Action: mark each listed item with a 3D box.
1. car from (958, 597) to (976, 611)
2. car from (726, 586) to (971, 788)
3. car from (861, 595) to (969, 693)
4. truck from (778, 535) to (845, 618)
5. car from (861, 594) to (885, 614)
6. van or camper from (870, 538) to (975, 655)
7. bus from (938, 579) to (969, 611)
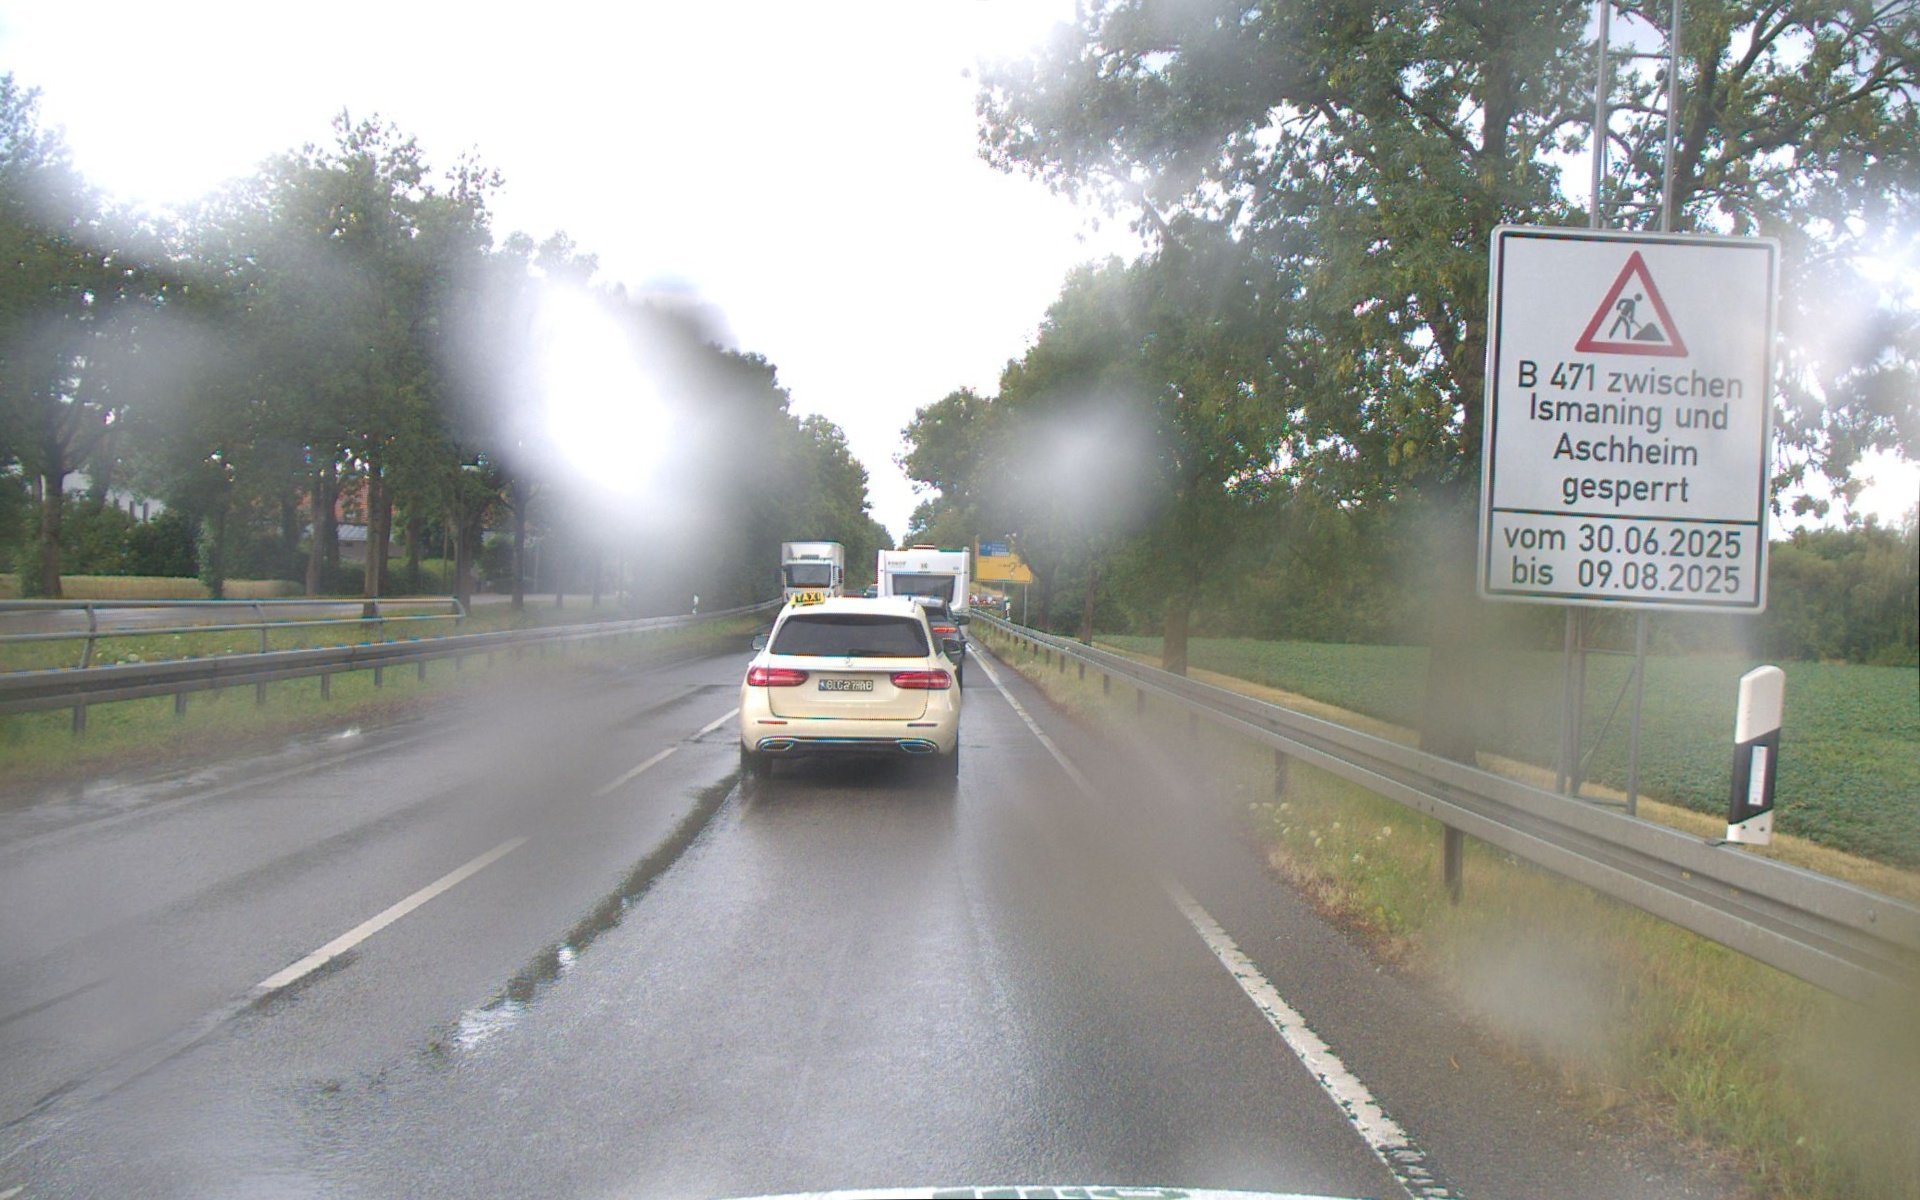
[{"bbox_3d":[0.579,0.353,142.616,1.520,1.138,3.999,1,0,0],"label":"car"},{"bbox_3d":[-0.843,0.649,14.437,1.826,1.502,4.000,1,0,0],"label":"car"},{"bbox_3d":[-0.690,0.665,27.187,1.630,1.456,4.000,1,0,0],"label":"car"},{"bbox_3d":[-6.661,-1.030,75.107,2.524,3.512,9.551,0,0,-2],"label":"truck"},{"bbox_3d":[-6.524,0.272,123.789,1.679,1.476,4.109,1,0,-2],"label":"car"},{"bbox_3d":[-0.884,-0.099,42.147,2.438,2.732,5.700,1,0,0],"label":"van or camper"},{"bbox_3d":[-0.445,-0.330,110.101,1.953,2.049,3.999,0,0,-2],"label":"bus"}]
